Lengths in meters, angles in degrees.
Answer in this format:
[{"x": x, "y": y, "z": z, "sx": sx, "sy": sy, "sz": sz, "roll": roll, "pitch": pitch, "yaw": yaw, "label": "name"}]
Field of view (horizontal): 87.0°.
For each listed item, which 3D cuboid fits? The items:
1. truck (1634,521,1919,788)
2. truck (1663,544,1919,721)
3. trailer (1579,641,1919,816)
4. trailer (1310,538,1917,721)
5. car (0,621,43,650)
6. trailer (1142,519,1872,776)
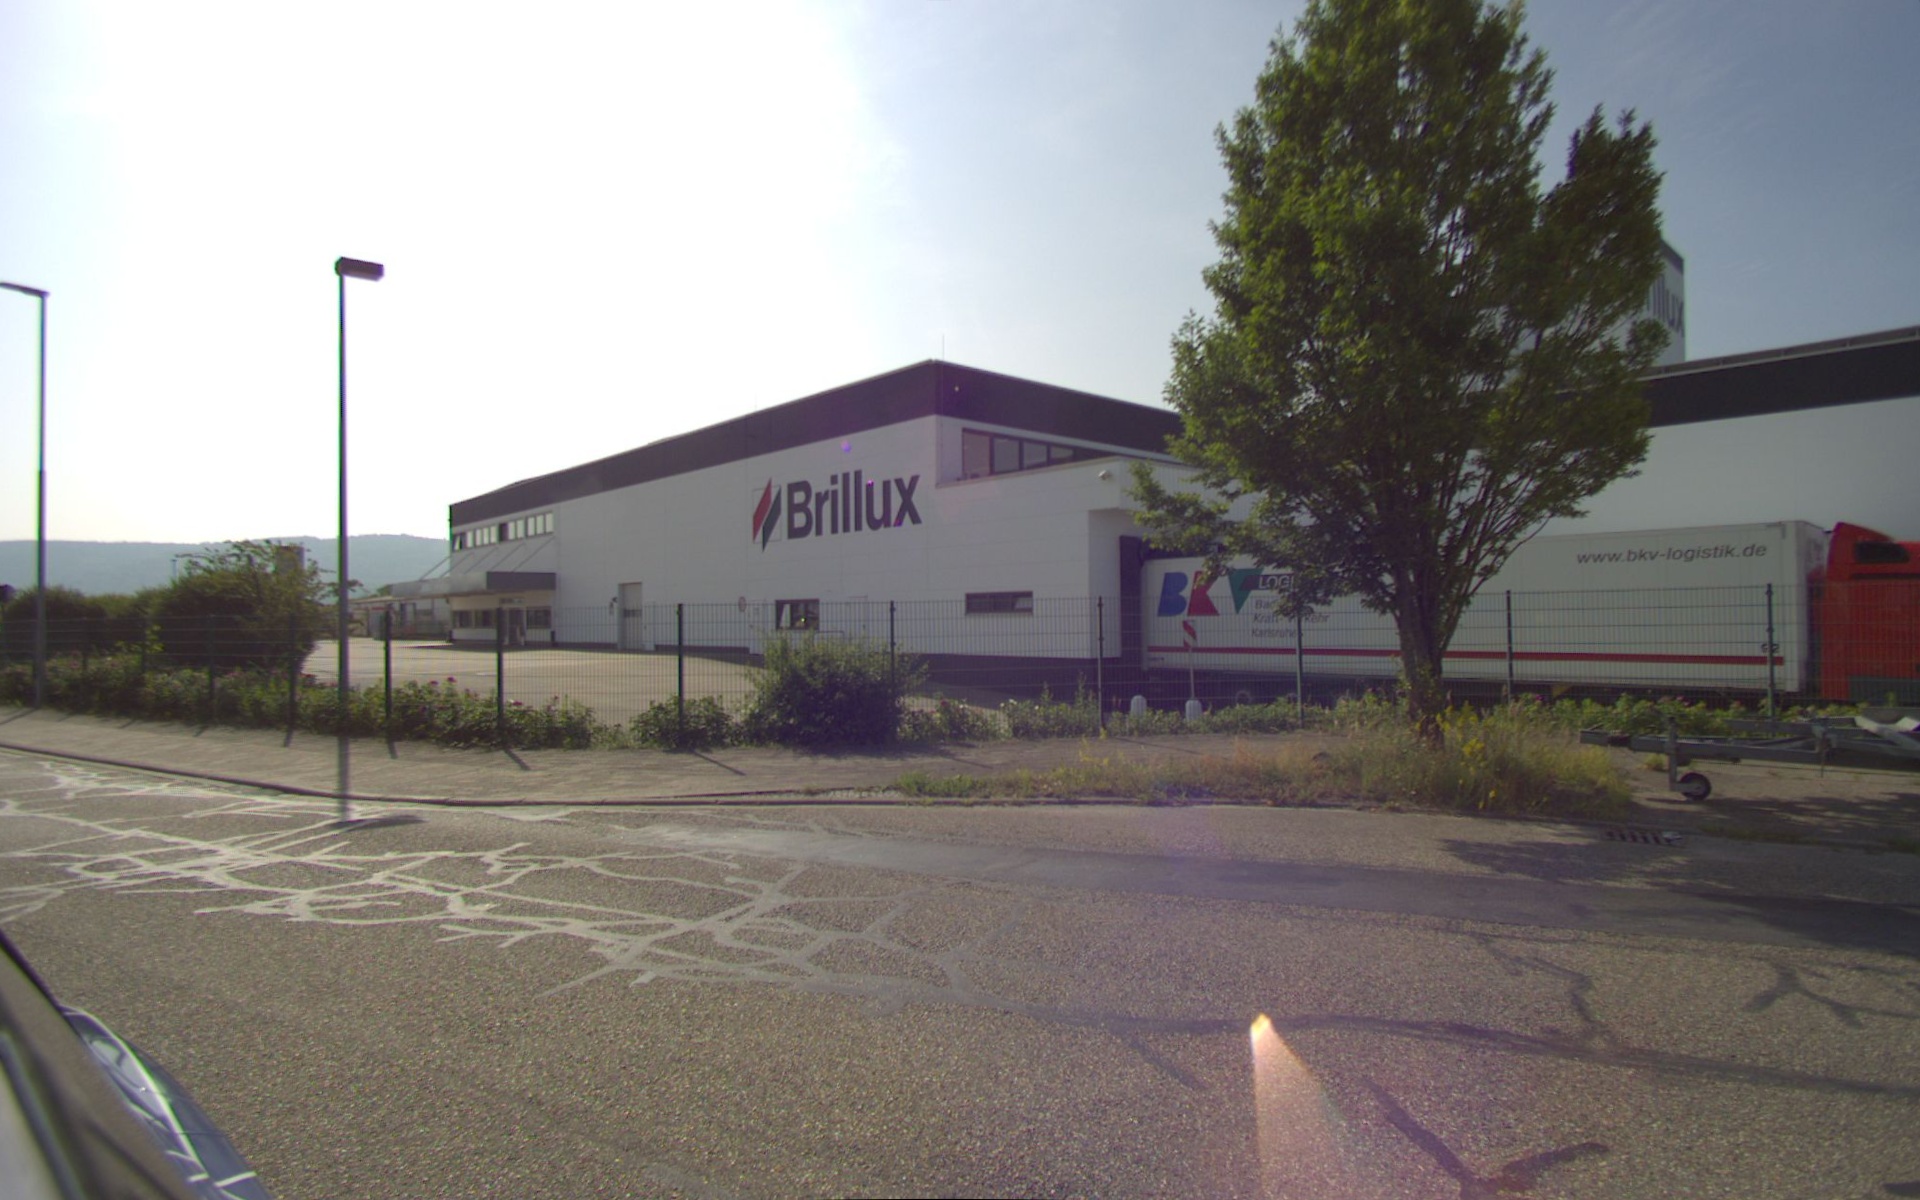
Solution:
[{"x": 14.961, "y": 0.799, "z": 17.110, "sx": 2.484, "sy": 4.101, "sz": 5.548, "roll": -2, "pitch": 2, "yaw": -44, "label": "truck"}, {"x": 21.233, "y": 0.671, "z": 24.081, "sx": 2.733, "sy": 3.900, "sz": 7.019, "roll": -2, "pitch": 2, "yaw": -44, "label": "truck"}, {"x": 8.250, "y": 0.852, "z": 6.958, "sx": 6.682, "sy": 0.932, "sz": 2.530, "roll": -2, "pitch": 2, "yaw": 30, "label": "trailer"}, {"x": 17.091, "y": 0.645, "z": 28.389, "sx": 2.821, "sy": 4.037, "sz": 14.024, "roll": -2, "pitch": 1, "yaw": -43, "label": "trailer"}, {"x": -59.950, "y": 2.226, "z": 62.640, "sx": 4.590, "sy": 1.765, "sz": 2.156, "roll": 0, "pitch": -1, "yaw": -38, "label": "car"}, {"x": 10.378, "y": 0.692, "z": 21.984, "sx": 2.453, "sy": 4.071, "sz": 13.902, "roll": -2, "pitch": 2, "yaw": -43, "label": "trailer"}]
